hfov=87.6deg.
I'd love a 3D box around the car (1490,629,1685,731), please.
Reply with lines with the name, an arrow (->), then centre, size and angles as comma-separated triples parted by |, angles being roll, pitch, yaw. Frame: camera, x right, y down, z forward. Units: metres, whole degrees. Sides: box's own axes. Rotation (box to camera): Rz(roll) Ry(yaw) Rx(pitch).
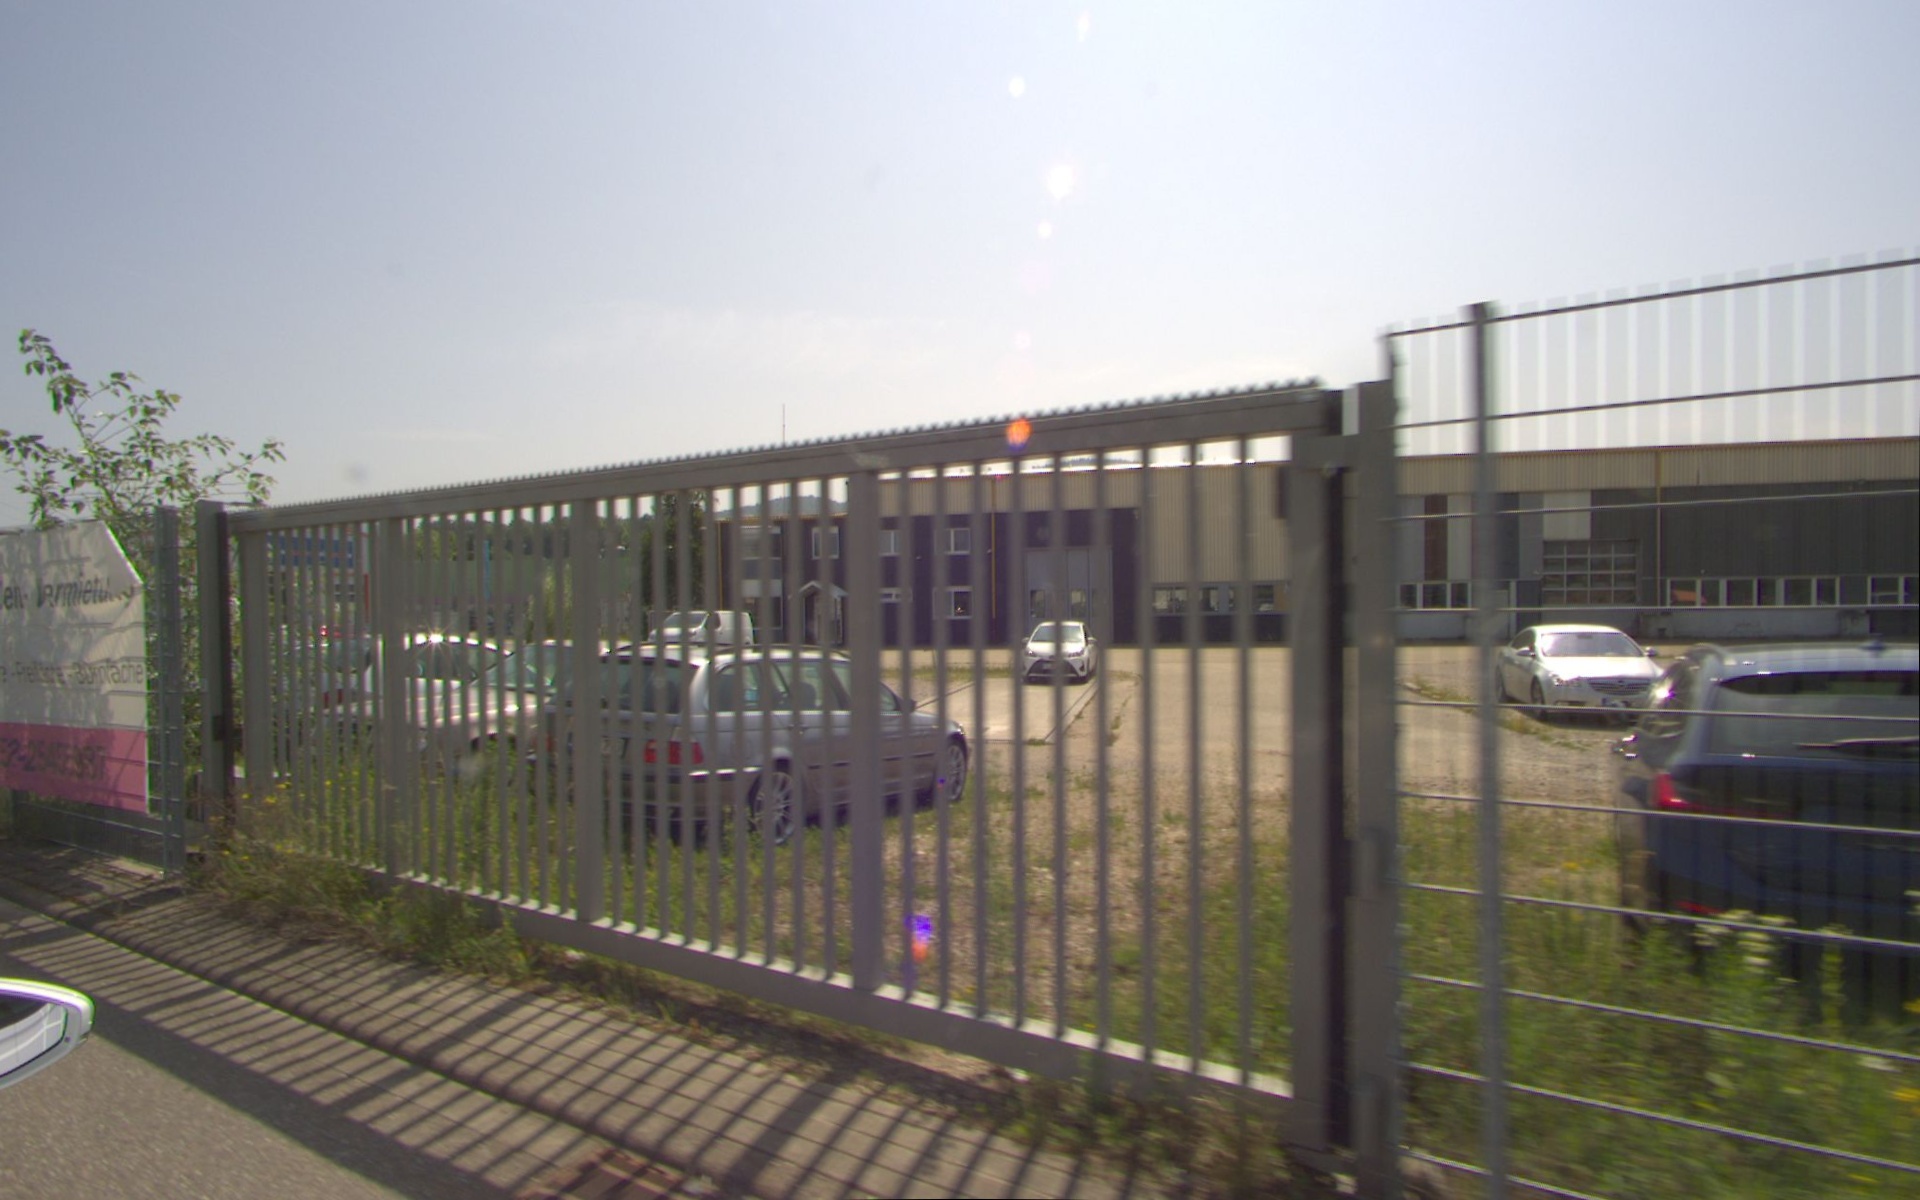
car -> 10.181, 1.206, 16.621 | 1.597, 1.368, 4.517 | -1, -1, 17

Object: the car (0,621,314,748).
car -> -10.623, 1.082, 12.861 | 1.612, 1.405, 3.524 | -1, -5, 29

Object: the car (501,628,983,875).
car -> -1.452, 1.044, 8.321 | 1.612, 1.492, 4.164 | -1, -3, 28

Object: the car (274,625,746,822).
car -> -3.858, 0.935, 9.189 | 1.714, 1.371, 3.658 | -1, -1, 30

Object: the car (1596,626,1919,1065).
car -> 4.336, 0.917, 5.159 | 1.743, 1.423, 4.502 | -1, -4, 33

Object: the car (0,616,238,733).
car -> -12.710, 1.015, 14.177 | 1.724, 1.496, 3.650 | -3, -2, 24

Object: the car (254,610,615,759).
car -> -5.591, 0.808, 11.035 | 1.504, 1.371, 3.266 | -1, -1, 27

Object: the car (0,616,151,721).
car -> -14.672, 1.016, 15.060 | 1.685, 1.521, 3.535 | -1, -1, 29

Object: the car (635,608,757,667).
car -> -9.269, 1.276, 35.713 | 1.824, 1.924, 5.069 | -1, -1, 17

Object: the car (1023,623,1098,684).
car -> 2.693, 1.341, 26.168 | 1.507, 1.454, 3.664 | 0, -1, 13
